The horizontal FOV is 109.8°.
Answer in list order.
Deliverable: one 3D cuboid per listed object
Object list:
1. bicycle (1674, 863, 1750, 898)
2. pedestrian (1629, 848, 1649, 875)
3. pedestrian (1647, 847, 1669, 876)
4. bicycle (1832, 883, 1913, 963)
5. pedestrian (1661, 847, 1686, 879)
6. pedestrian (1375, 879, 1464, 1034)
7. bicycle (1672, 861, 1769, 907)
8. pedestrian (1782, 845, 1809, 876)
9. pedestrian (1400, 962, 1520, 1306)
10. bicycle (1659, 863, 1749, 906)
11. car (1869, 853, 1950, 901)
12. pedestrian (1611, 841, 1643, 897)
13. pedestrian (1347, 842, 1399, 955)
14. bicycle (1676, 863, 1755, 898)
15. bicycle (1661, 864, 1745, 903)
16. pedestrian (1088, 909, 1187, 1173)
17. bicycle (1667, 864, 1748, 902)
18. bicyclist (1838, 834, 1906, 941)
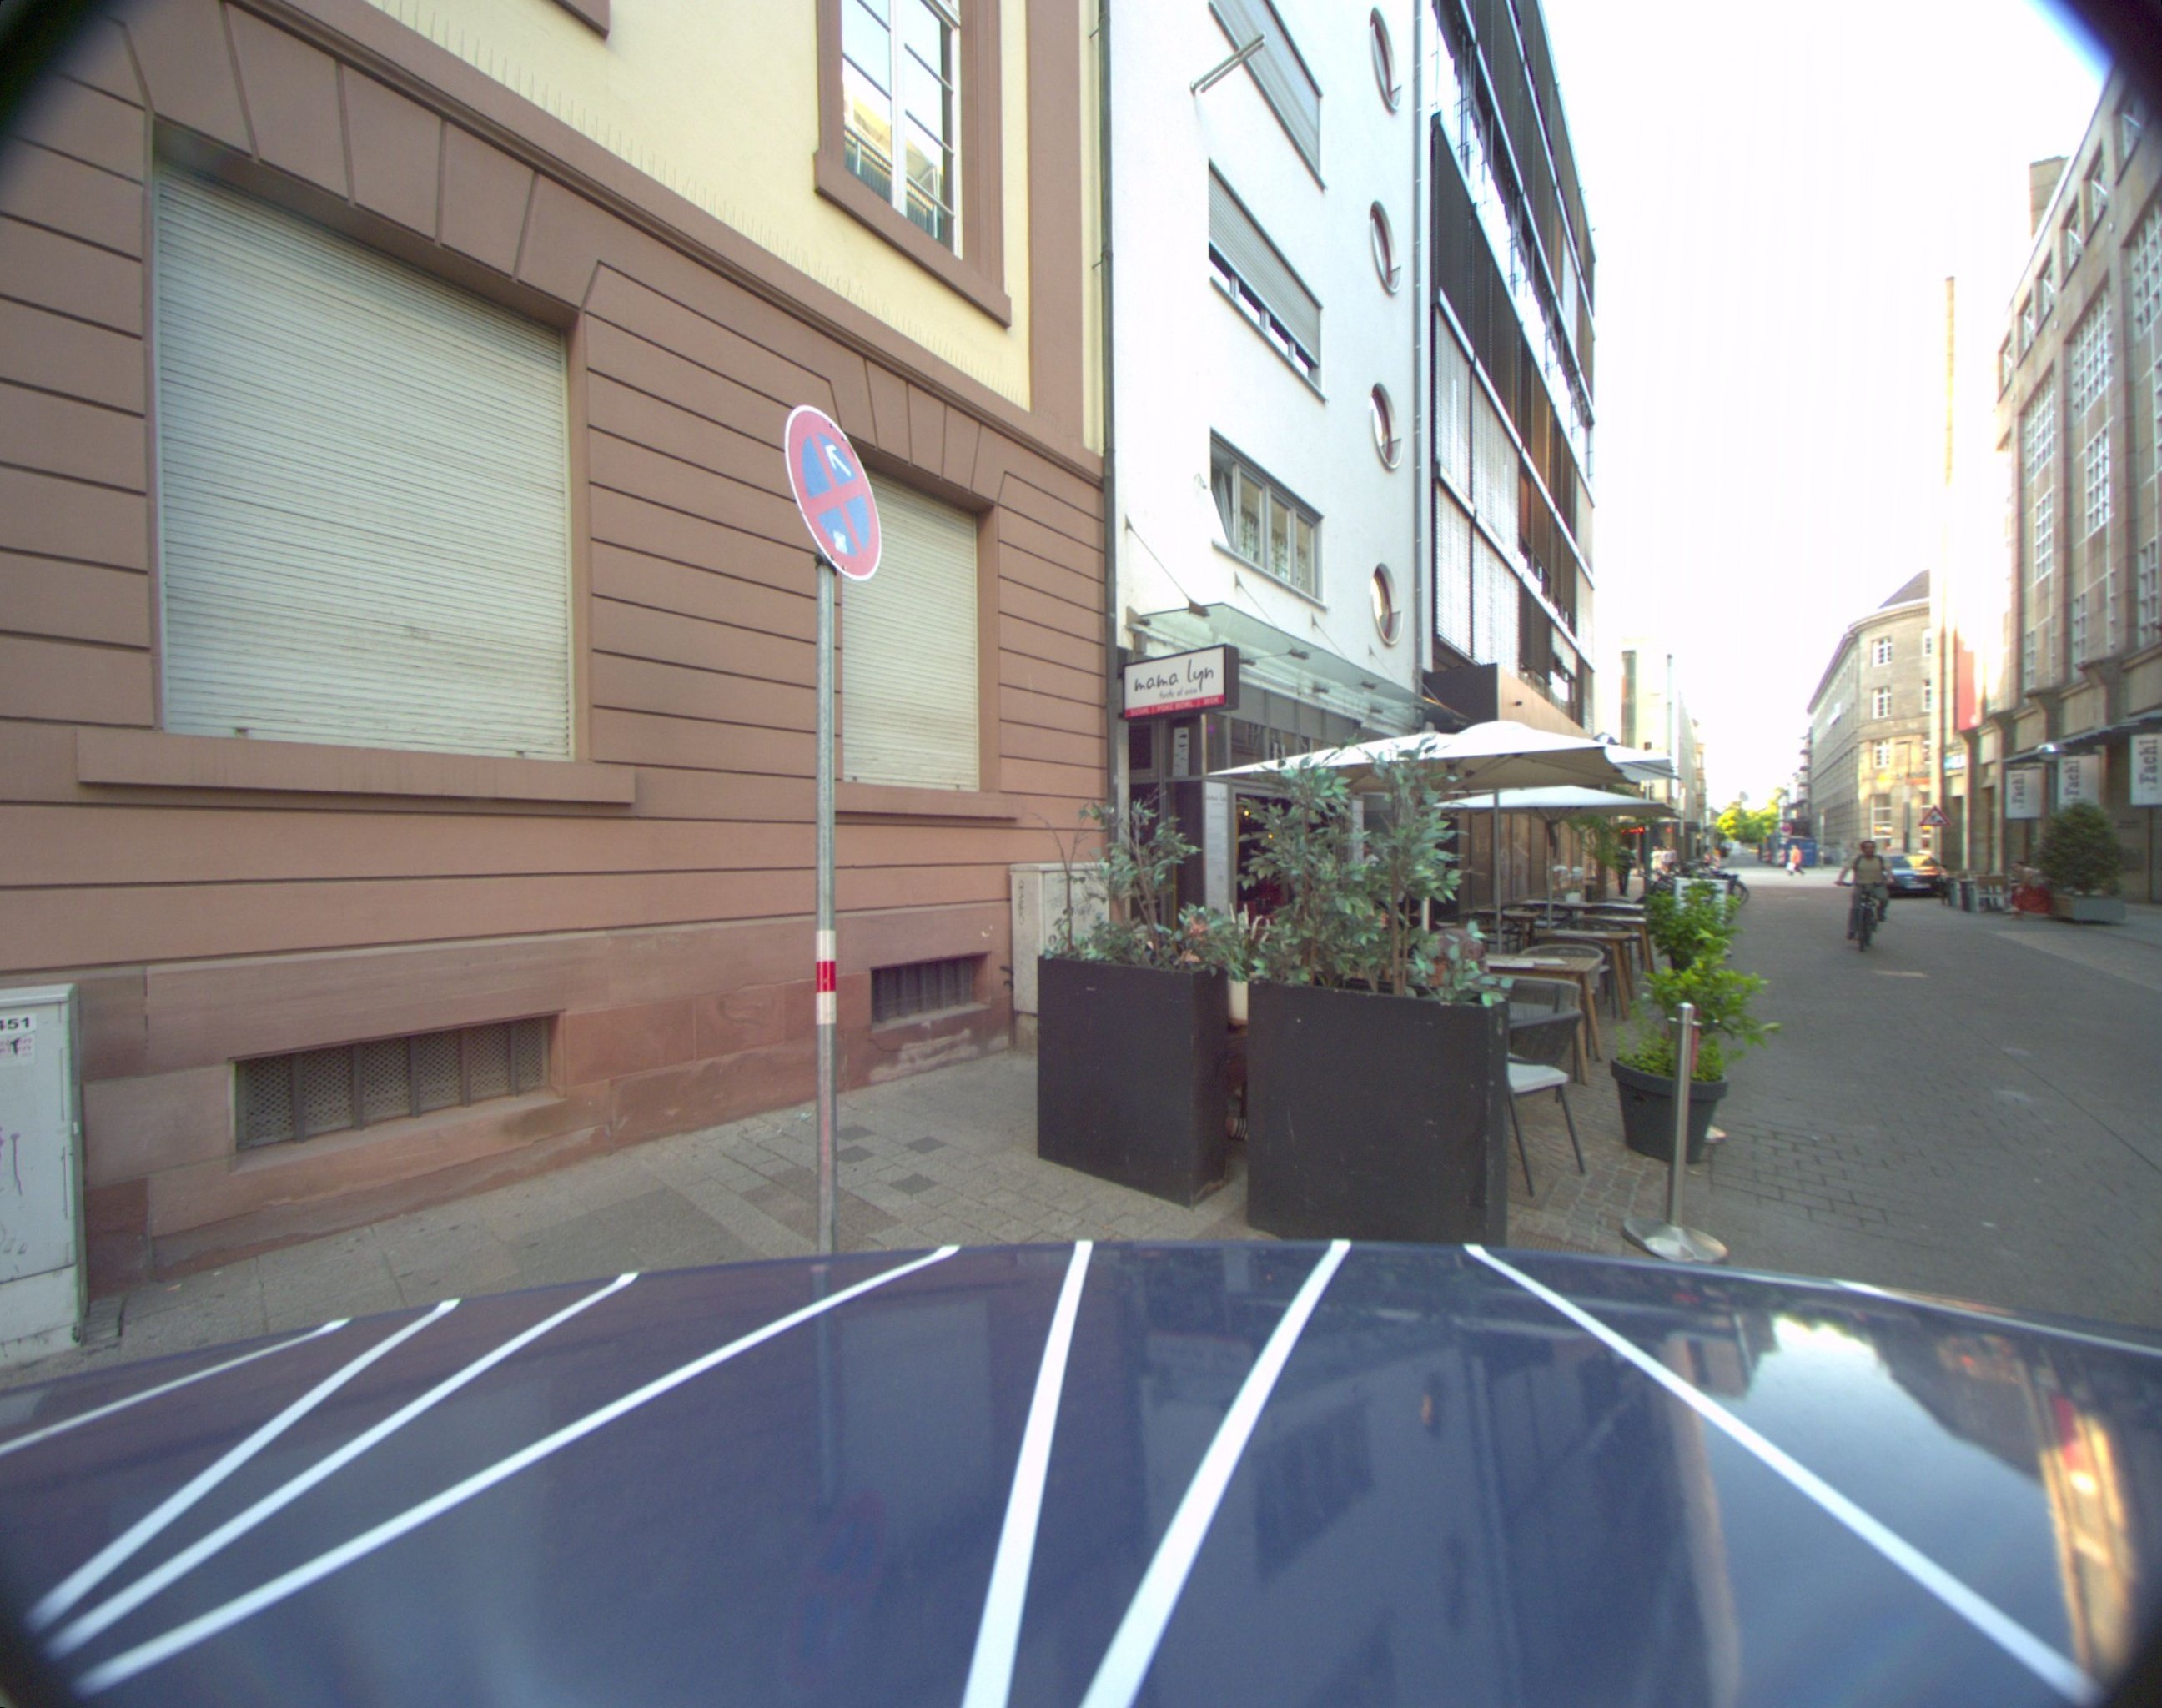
[{"bbox_3d":[22.201,0.913,26.764,2.034,1.209,0.620,0,1,40],"label":"bicycle"},{"bbox_3d":[31.612,0.418,43.059,0.635,1.516,0.783,-1,2,11],"label":"pedestrian"},{"bbox_3d":[32.590,0.427,42.908,0.636,1.612,0.782,-1,1,-8],"label":"pedestrian"},{"bbox_3d":[12.876,1.068,12.406,0.698,1.121,2.009,0,0,40],"label":"bicycle"},{"bbox_3d":[29.993,0.457,38.463,0.782,1.612,0.636,-1,2,1],"label":"pedestrian"},{"bbox_3d":[3.396,0.974,7.604,0.574,1.412,0.870,0,1,42],"label":"pedestrian"},{"bbox_3d":[18.291,0.839,21.784,2.033,1.161,0.667,3,3,40],"label":"bicycle"},{"bbox_3d":[37.887,0.348,40.302,0.669,1.628,0.764,-1,2,-10],"label":"pedestrian"},{"bbox_3d":[1.545,1.080,3.085,0.399,1.206,0.384,0,1,31],"label":"pedestrian"},{"bbox_3d":[18.959,0.908,23.161,2.033,1.161,0.620,3,3,40],"label":"bicycle"},{"bbox_3d":[26.786,0.699,24.656,1.599,1.414,3.611,0,0,45],"label":"car"},{"bbox_3d":[18.190,0.481,25.304,0.802,1.825,0.676,0,1,43],"label":"pedestrian"},{"bbox_3d":[4.735,0.700,12.310,0.638,1.762,0.603,0,1,36],"label":"pedestrian"},{"bbox_3d":[21.613,0.876,25.911,2.034,1.161,0.620,0,1,40],"label":"bicycle"},{"bbox_3d":[19.743,0.921,24.147,2.034,1.161,0.620,0,1,40],"label":"bicycle"},{"bbox_3d":[0.319,0.969,4.149,0.362,1.298,0.496,0,1,27],"label":"pedestrian"},{"bbox_3d":[20.518,0.932,24.936,2.034,1.161,0.620,0,1,40],"label":"bicycle"},{"bbox_3d":[12.820,0.523,12.344,0.674,1.660,0.871,0,1,40],"label":"bicyclist"}]
